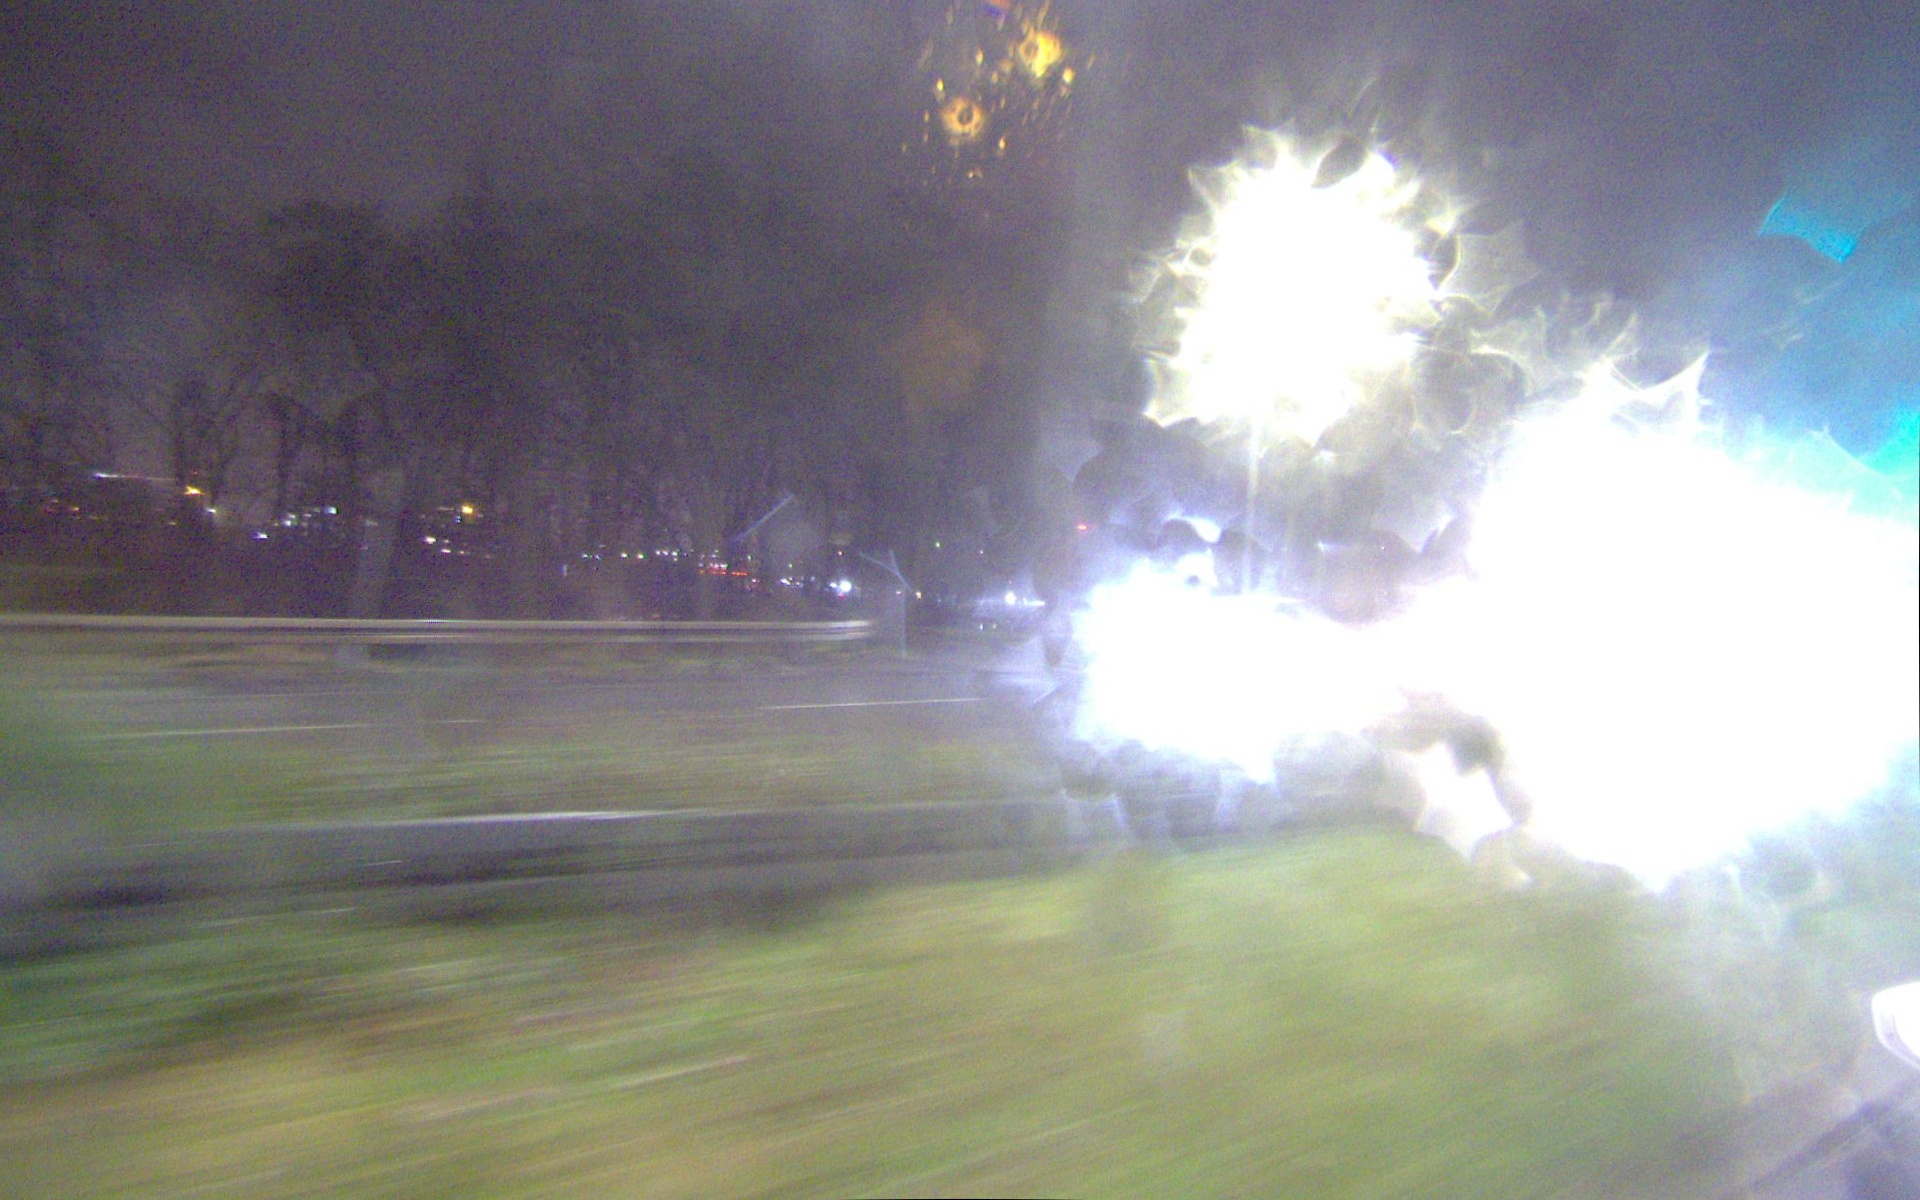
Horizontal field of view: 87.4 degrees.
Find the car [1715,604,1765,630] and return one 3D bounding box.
[{"bbox_3d":[59.550,1.288,76.797,2.057,1.665,3.726,7,4,25],"label":"car"}]

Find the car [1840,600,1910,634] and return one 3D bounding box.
[{"bbox_3d":[48.197,0.887,52.980,1.789,1.639,3.992,4,2,30],"label":"car"}]

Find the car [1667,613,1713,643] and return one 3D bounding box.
[{"bbox_3d":[37.061,1.406,50.971,1.783,1.371,4.127,3,1,37],"label":"car"}]

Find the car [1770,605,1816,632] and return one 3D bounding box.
[{"bbox_3d":[55.681,1.210,67.173,1.791,1.639,3.989,4,2,33],"label":"car"}]

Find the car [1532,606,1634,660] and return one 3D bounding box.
[{"bbox_3d":[18.712,0.996,30.074,1.770,1.476,4.552,1,-2,43],"label":"car"}]

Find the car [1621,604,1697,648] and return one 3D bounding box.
[{"bbox_3d":[26.625,0.976,38.197,1.759,1.480,4.454,5,2,41],"label":"car"}]

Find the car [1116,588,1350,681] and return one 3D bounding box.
[{"bbox_3d":[5.005,0.570,18.104,4.539,1.476,1.775,1,0,-39],"label":"car"}]
